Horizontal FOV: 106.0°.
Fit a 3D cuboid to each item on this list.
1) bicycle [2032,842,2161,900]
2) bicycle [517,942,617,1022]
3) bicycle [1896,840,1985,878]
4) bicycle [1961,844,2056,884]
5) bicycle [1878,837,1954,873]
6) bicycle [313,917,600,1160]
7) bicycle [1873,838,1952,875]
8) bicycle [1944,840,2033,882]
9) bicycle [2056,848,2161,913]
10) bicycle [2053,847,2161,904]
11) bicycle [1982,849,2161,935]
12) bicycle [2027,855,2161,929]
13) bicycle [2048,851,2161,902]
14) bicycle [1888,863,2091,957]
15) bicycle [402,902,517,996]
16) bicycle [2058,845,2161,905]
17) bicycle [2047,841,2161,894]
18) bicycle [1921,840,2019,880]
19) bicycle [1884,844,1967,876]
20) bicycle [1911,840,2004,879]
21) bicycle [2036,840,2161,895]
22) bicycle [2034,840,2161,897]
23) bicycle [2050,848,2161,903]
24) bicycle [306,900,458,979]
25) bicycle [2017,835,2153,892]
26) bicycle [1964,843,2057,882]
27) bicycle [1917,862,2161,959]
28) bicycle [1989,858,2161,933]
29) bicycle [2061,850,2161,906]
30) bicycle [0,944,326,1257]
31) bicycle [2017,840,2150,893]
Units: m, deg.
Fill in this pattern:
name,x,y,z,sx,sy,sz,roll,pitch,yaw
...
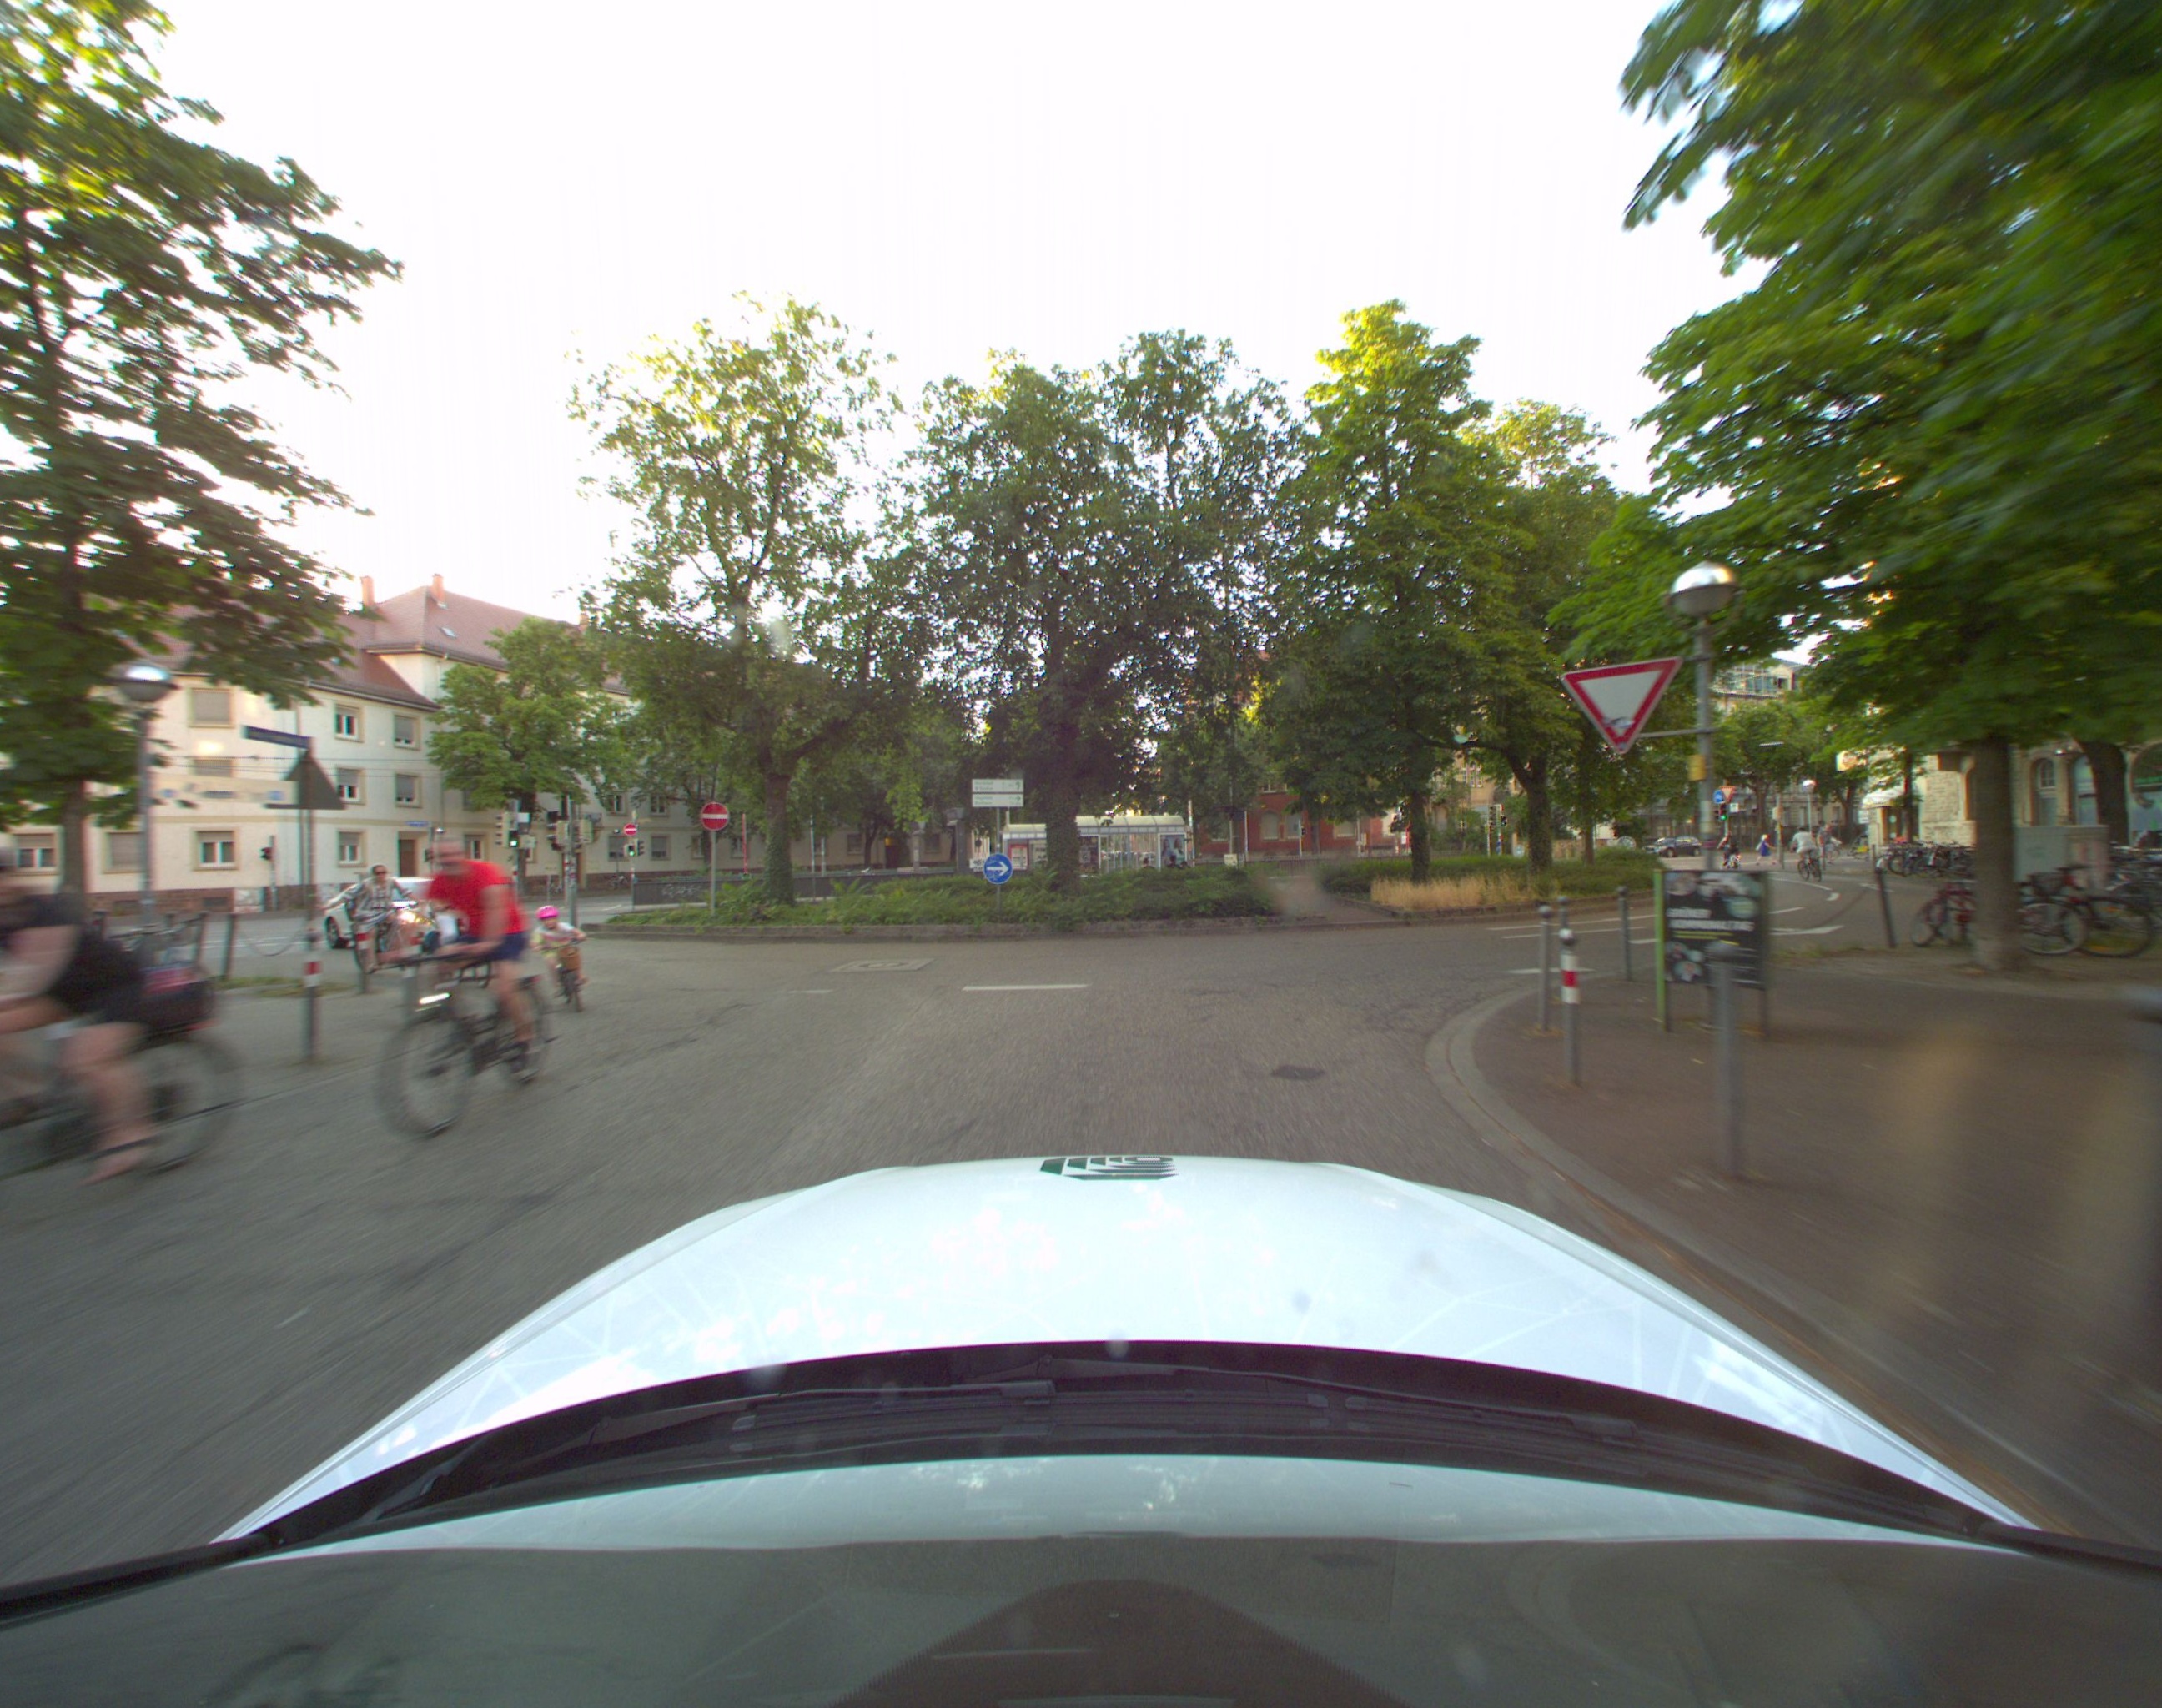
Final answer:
name,x,y,z,sx,sy,sz,roll,pitch,yaw
bicycle,21.838,0.366,17.455,0.421,1.131,1.832,24,-18,-41
bicycle,-5.639,1.362,8.905,0.655,0.642,1.446,-2,0,-43
bicycle,27.784,0.172,26.355,1.870,1.162,0.644,-2,0,19
bicycle,25.731,0.279,22.631,1.654,1.078,0.489,-2,0,28
bicycle,29.774,0.031,29.061,1.773,1.236,0.654,-2,0,17
bicycle,-3.916,1.052,5.347,0.650,1.107,2.006,-2,0,-12
bicycle,28.866,0.083,28.303,1.772,1.236,0.703,-2,0,19
bicycle,26.468,0.215,23.782,1.653,1.127,0.489,-2,6,37
bicycle,17.956,0.441,13.823,0.450,1.063,1.775,-1,0,-40
bicycle,20.521,0.417,15.915,0.538,1.061,1.897,-1,0,-43
bicycle,14.255,0.522,11.749,0.557,1.148,1.591,-1,0,-32
bicycle,15.518,0.564,12.279,0.421,1.063,1.590,-1,0,-36
bicycle,21.046,0.449,16.498,0.421,0.999,1.832,-1,0,-44
bicycle,11.051,0.643,9.979,0.432,1.039,1.597,-2,0,-20
bicycle,-8.419,1.230,11.005,2.021,1.094,0.734,-2,0,38
bicycle,20.111,0.404,15.553,0.421,1.116,1.834,-1,0,-40
bicycle,22.686,0.299,17.876,1.833,1.104,0.577,-2,0,23
bicycle,27.196,0.185,24.956,1.867,1.162,0.709,-2,0,30
bicycle,28.502,0.200,27.511,1.786,1.038,0.703,-2,0,19
bicycle,27.551,0.175,25.635,1.867,1.162,0.644,-2,0,30
bicycle,22.164,0.305,17.661,0.421,1.144,1.832,-1,0,-44
bicycle,21.657,0.324,17.266,0.421,1.093,1.832,24,-18,-41
bicycle,20.839,0.429,16.289,0.421,1.051,1.832,-1,0,-44
bicycle,-10.778,1.306,12.588,1.794,1.094,0.686,-2,0,4
bicycle,22.745,0.242,18.511,0.494,1.217,1.862,7,-6,-43
bicycle,26.590,0.243,23.327,1.653,1.078,0.489,-2,0,36
bicycle,11.490,0.627,9.857,0.432,1.039,1.886,-2,0,-20
bicycle,14.629,0.584,11.992,0.557,1.020,1.591,-1,0,-32
bicycle,19.889,0.449,15.311,0.421,1.014,1.834,-1,0,-40
bicycle,-4.845,1.107,3.880,0.719,1.107,2.011,-2,0,-5
bicycle,23.066,0.278,18.790,1.861,1.139,0.495,0,4,33
